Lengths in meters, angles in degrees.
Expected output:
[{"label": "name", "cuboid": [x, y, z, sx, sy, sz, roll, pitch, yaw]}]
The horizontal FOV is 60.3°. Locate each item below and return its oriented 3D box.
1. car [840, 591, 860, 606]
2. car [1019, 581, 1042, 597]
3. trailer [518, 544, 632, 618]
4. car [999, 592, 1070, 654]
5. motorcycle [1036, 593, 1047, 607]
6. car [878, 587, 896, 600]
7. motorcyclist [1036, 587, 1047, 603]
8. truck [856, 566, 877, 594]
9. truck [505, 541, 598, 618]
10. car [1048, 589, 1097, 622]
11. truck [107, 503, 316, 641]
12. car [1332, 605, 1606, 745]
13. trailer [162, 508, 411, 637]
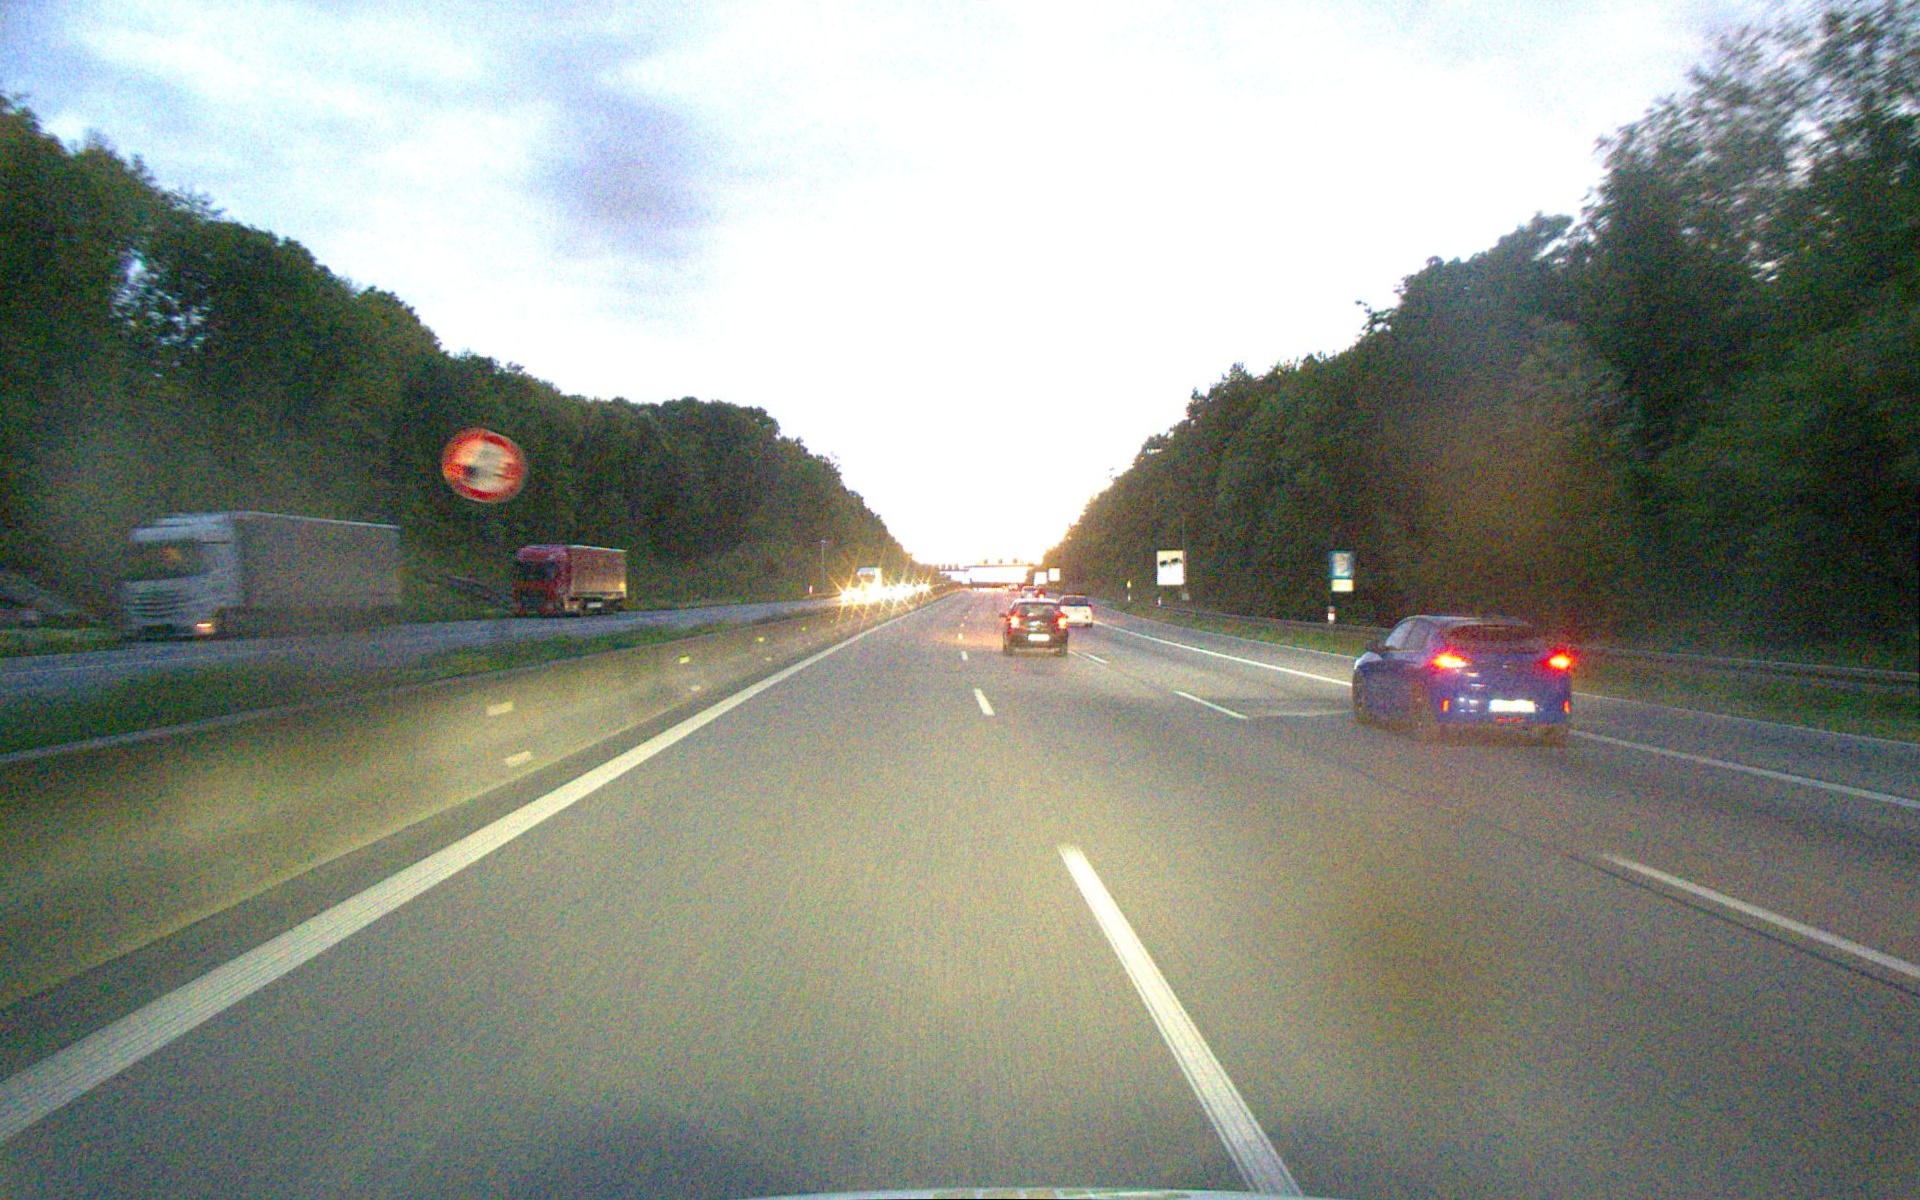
[{"label": "car", "cuboid": [-11.300, -0.178, 170.083, 1.651, 1.541, 4.415, 0, 0, 1]}, {"label": "car", "cuboid": [7.095, -1.103, 166.860, 1.828, 1.520, 4.395, 1, -1, -3]}, {"label": "trailer", "cuboid": [-23.222, -1.053, 100.773, 3.124, 4.176, 14.187, 1, 0, 2]}, {"label": "car", "cuboid": [1.935, 0.616, 44.141, 1.669, 1.536, 4.231, 1, -1, 0]}, {"label": "motorcycle", "cuboid": [6.837, 0.021, 138.583, 0.812, 1.154, 2.476, 0, 0, 1]}, {"label": "car", "cuboid": [-8.044, -0.775, 182.829, 1.812, 1.406, 4.644, 0, 1, -1]}, {"label": "motorcyclist", "cuboid": [6.833, -0.396, 138.519, 0.812, 1.314, 1.190, 0, 0, 1]}, {"label": "truck", "cuboid": [-13.696, -2.863, 242.116, 2.592, 4.041, 7.123, 0, 0, 1]}, {"label": "truck", "cuboid": [-23.412, -1.126, 95.173, 3.124, 4.176, 7.691, 1, 0, 2]}, {"label": "car", "cuboid": [5.344, 0.291, 78.788, 1.789, 1.501, 4.395, 1, -1, -3]}, {"label": "truck", "cuboid": [-24.369, -0.858, 54.389, 3.124, 4.176, 7.691, 1, 0, 2]}, {"label": "car", "cuboid": [6.046, 0.822, 20.260, 1.827, 1.461, 4.582, 1, 0, -2]}, {"label": "trailer", "cuboid": [-24.170, -0.891, 60.642, 3.125, 4.176, 13.743, 1, 0, 2]}]
